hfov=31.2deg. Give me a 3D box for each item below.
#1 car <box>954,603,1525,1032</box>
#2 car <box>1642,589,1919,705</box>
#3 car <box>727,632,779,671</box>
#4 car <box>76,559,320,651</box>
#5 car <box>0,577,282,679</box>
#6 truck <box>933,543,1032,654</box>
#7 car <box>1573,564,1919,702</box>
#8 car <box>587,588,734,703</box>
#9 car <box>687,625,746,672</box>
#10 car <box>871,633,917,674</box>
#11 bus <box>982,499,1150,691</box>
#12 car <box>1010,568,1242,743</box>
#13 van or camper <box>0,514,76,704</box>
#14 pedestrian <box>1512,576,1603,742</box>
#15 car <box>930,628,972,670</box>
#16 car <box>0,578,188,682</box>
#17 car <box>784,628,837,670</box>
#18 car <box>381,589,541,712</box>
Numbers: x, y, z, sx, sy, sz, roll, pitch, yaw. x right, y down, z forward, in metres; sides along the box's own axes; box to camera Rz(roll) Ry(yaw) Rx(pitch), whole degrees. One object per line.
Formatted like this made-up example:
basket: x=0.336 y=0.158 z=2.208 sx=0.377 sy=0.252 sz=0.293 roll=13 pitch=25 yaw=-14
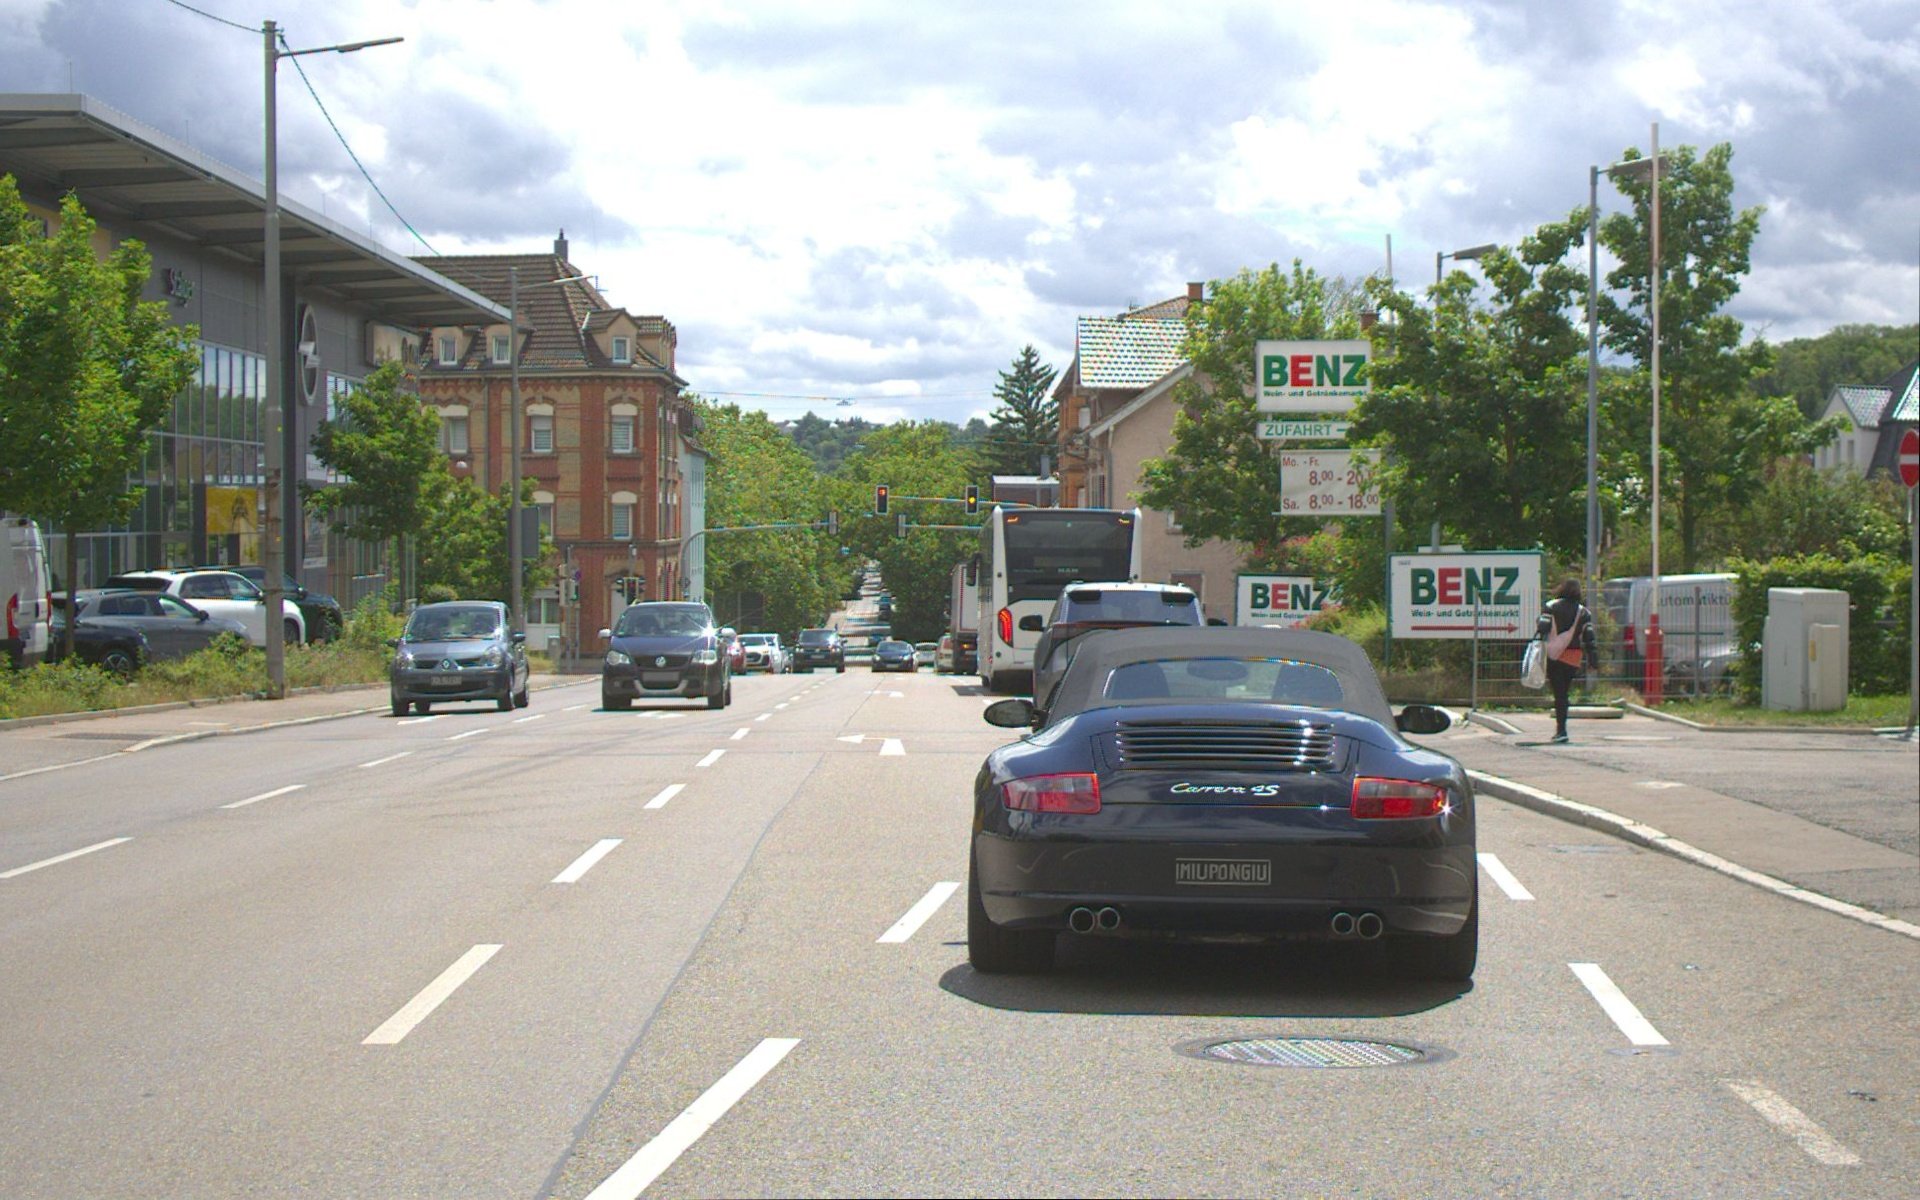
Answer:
car: x=0.969 y=0.741 z=13.785 sx=1.930 sy=1.372 sz=4.208 roll=0 pitch=1 yaw=1
car: x=11.730 y=0.623 z=46.843 sx=4.432 sy=1.476 sz=2.000 roll=-1 pitch=-1 yaw=-1
car: x=-8.184 y=2.025 z=136.074 sx=1.864 sy=1.535 sz=4.107 roll=0 pitch=-1 yaw=-1
car: x=-13.399 y=0.104 z=60.759 sx=1.933 sy=1.567 sz=4.548 roll=0 pitch=-1 yaw=23
car: x=-13.228 y=0.413 z=55.463 sx=1.897 sy=1.445 sz=4.825 roll=1 pitch=2 yaw=27
truck: x=0.596 y=0.004 z=101.344 sx=2.666 sy=3.097 sz=9.035 roll=-1 pitch=-1 yaw=-1
car: x=11.479 y=0.468 z=49.671 sx=4.706 sy=1.842 sz=2.089 roll=-1 pitch=-1 yaw=-8
car: x=-4.134 y=0.614 z=47.972 sx=1.829 sy=1.504 sz=4.277 roll=-1 pitch=0 yaw=-2
car: x=-8.321 y=1.637 z=117.812 sx=1.871 sy=1.486 sz=3.849 roll=-3 pitch=0 yaw=-3
car: x=-2.733 y=2.212 z=142.392 sx=1.864 sy=1.660 sz=4.259 roll=0 pitch=-1 yaw=-1
bus: x=1.879 y=-0.258 z=63.708 sx=2.802 sy=3.187 sz=12.196 roll=0 pitch=2 yaw=1
car: x=1.586 y=0.502 z=34.358 sx=1.930 sy=1.577 sz=4.208 roll=0 pitch=1 yaw=-3
van or camper: x=-14.883 y=0.091 z=46.984 sx=5.026 sy=2.522 sz=2.318 roll=0 pitch=2 yaw=-1
pedestrian: x=5.616 y=0.545 z=32.343 sx=0.687 sy=1.531 sz=0.856 roll=0 pitch=1 yaw=-1
car: x=-0.426 y=2.285 z=162.214 sx=1.832 sy=1.875 sz=4.000 roll=-1 pitch=1 yaw=-2
car: x=-13.944 y=0.444 z=51.046 sx=4.464 sy=1.504 sz=1.942 roll=0 pitch=0 yaw=-42
car: x=-5.485 y=1.795 z=126.652 sx=1.864 sy=1.535 sz=4.107 roll=0 pitch=-1 yaw=-1
car: x=-7.056 y=0.680 z=48.928 sx=1.743 sy=1.590 sz=4.042 roll=-2 pitch=0 yaw=-2
